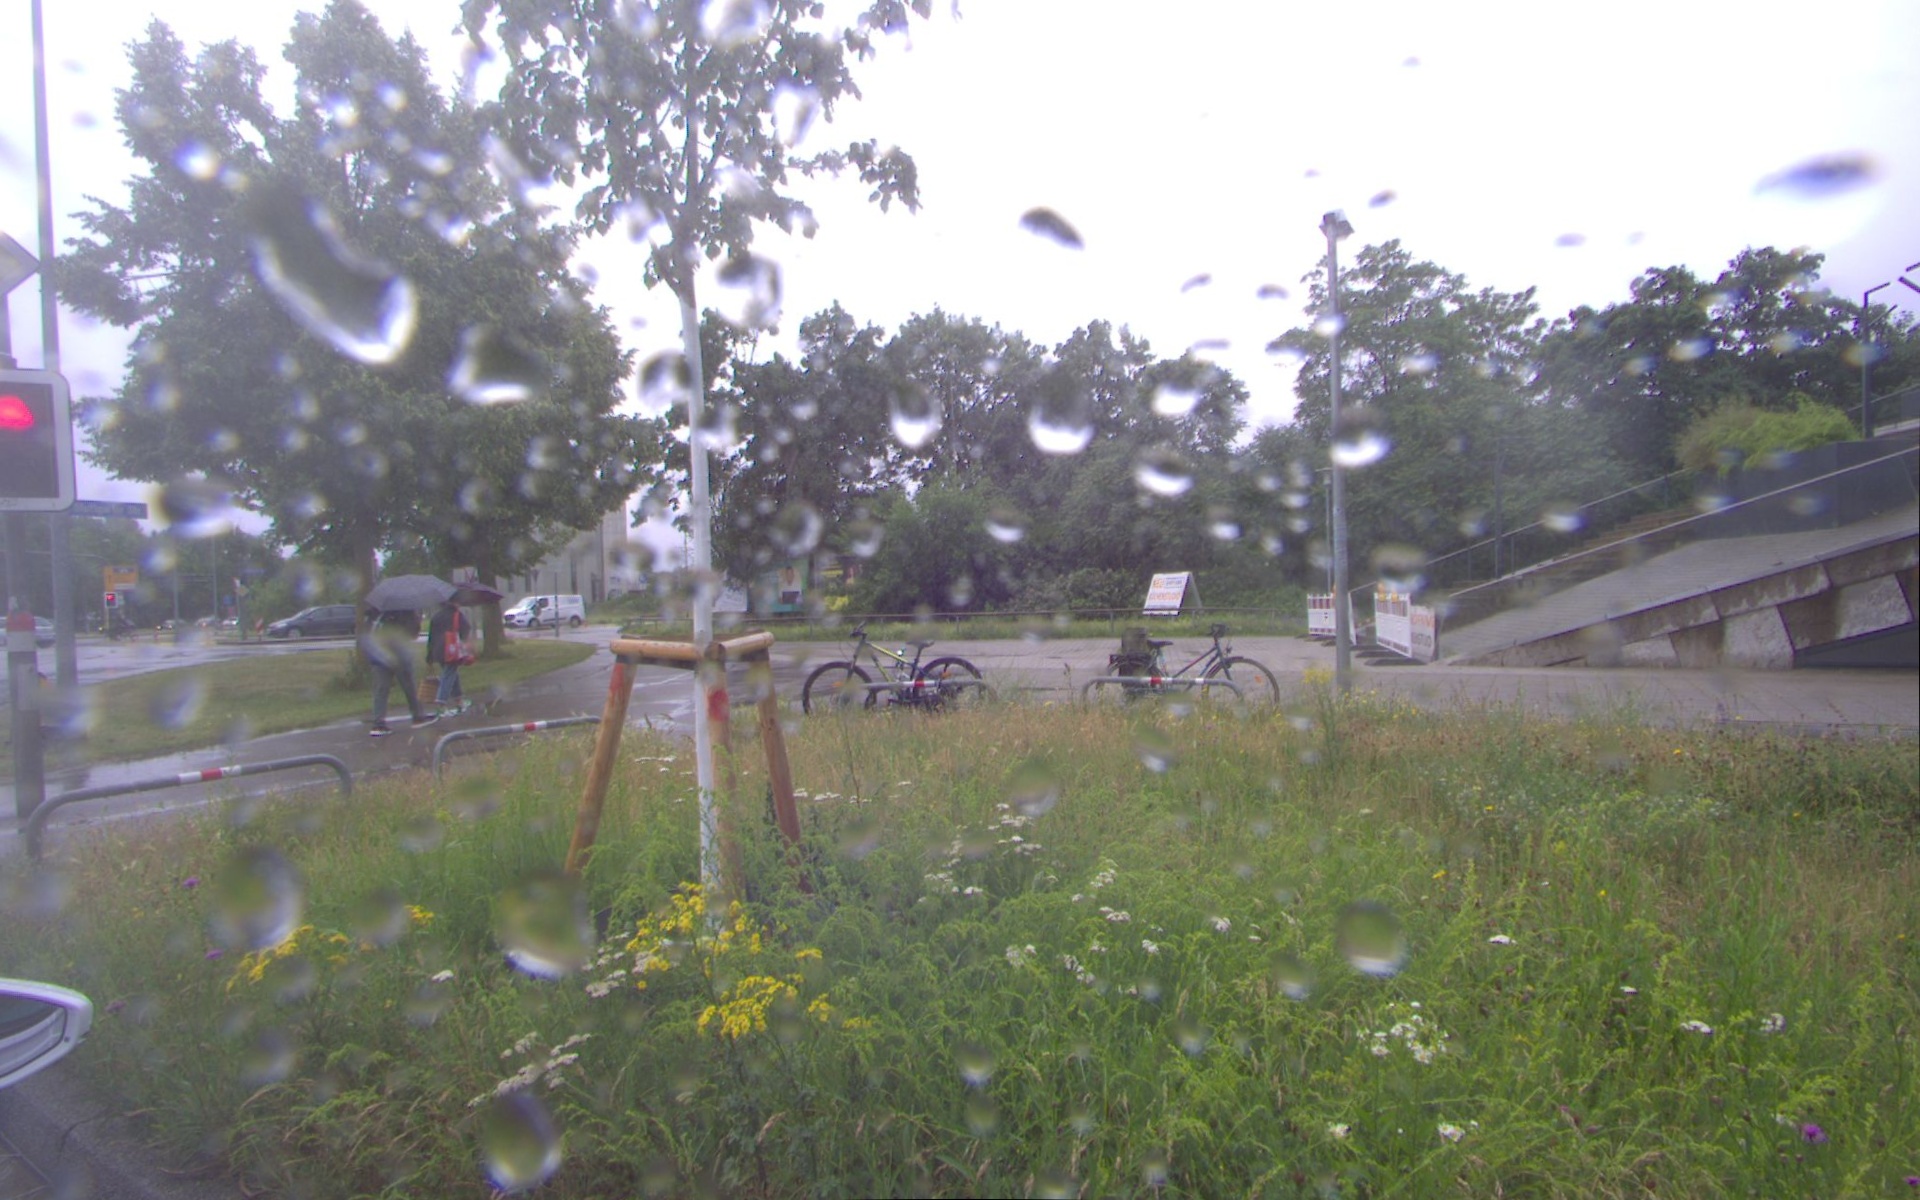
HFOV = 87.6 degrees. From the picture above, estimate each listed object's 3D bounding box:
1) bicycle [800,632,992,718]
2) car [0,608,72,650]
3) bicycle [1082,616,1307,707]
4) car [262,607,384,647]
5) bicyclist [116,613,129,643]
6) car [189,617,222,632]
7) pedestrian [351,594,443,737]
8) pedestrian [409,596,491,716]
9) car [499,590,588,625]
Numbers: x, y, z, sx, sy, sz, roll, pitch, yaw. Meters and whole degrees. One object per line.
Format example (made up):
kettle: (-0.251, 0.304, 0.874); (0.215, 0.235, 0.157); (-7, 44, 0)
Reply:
bicycle: (-0.612, 0.719, 9.703); (1.823, 0.797, 0.380); (0, -2, -2)
car: (-43.251, 1.333, 45.093); (4.682, 1.874, 2.001); (0, -2, 0)
bicycle: (2.148, 0.565, 9.260); (1.972, 0.796, 0.454); (-1, -2, 16)
car: (-31.390, 1.357, 49.440); (1.977, 1.874, 4.741); (-2, -3, 40)
bicyclist: (-50.382, 1.705, 60.233); (0.490, 1.764, 0.587); (1, -2, -34)
car: (-87.716, 2.900, 116.493); (1.770, 1.683, 3.995); (0, -2, -16)
pedestrian: (-6.337, 0.720, 11.274); (0.730, 1.542, 0.620); (-1, -1, 31)
pedestrian: (-6.539, 0.699, 12.853); (0.564, 1.480, 0.679); (-1, 1, 28)
car: (-24.880, 0.492, 60.021); (1.971, 1.874, 4.755); (-2, -2, 30)
